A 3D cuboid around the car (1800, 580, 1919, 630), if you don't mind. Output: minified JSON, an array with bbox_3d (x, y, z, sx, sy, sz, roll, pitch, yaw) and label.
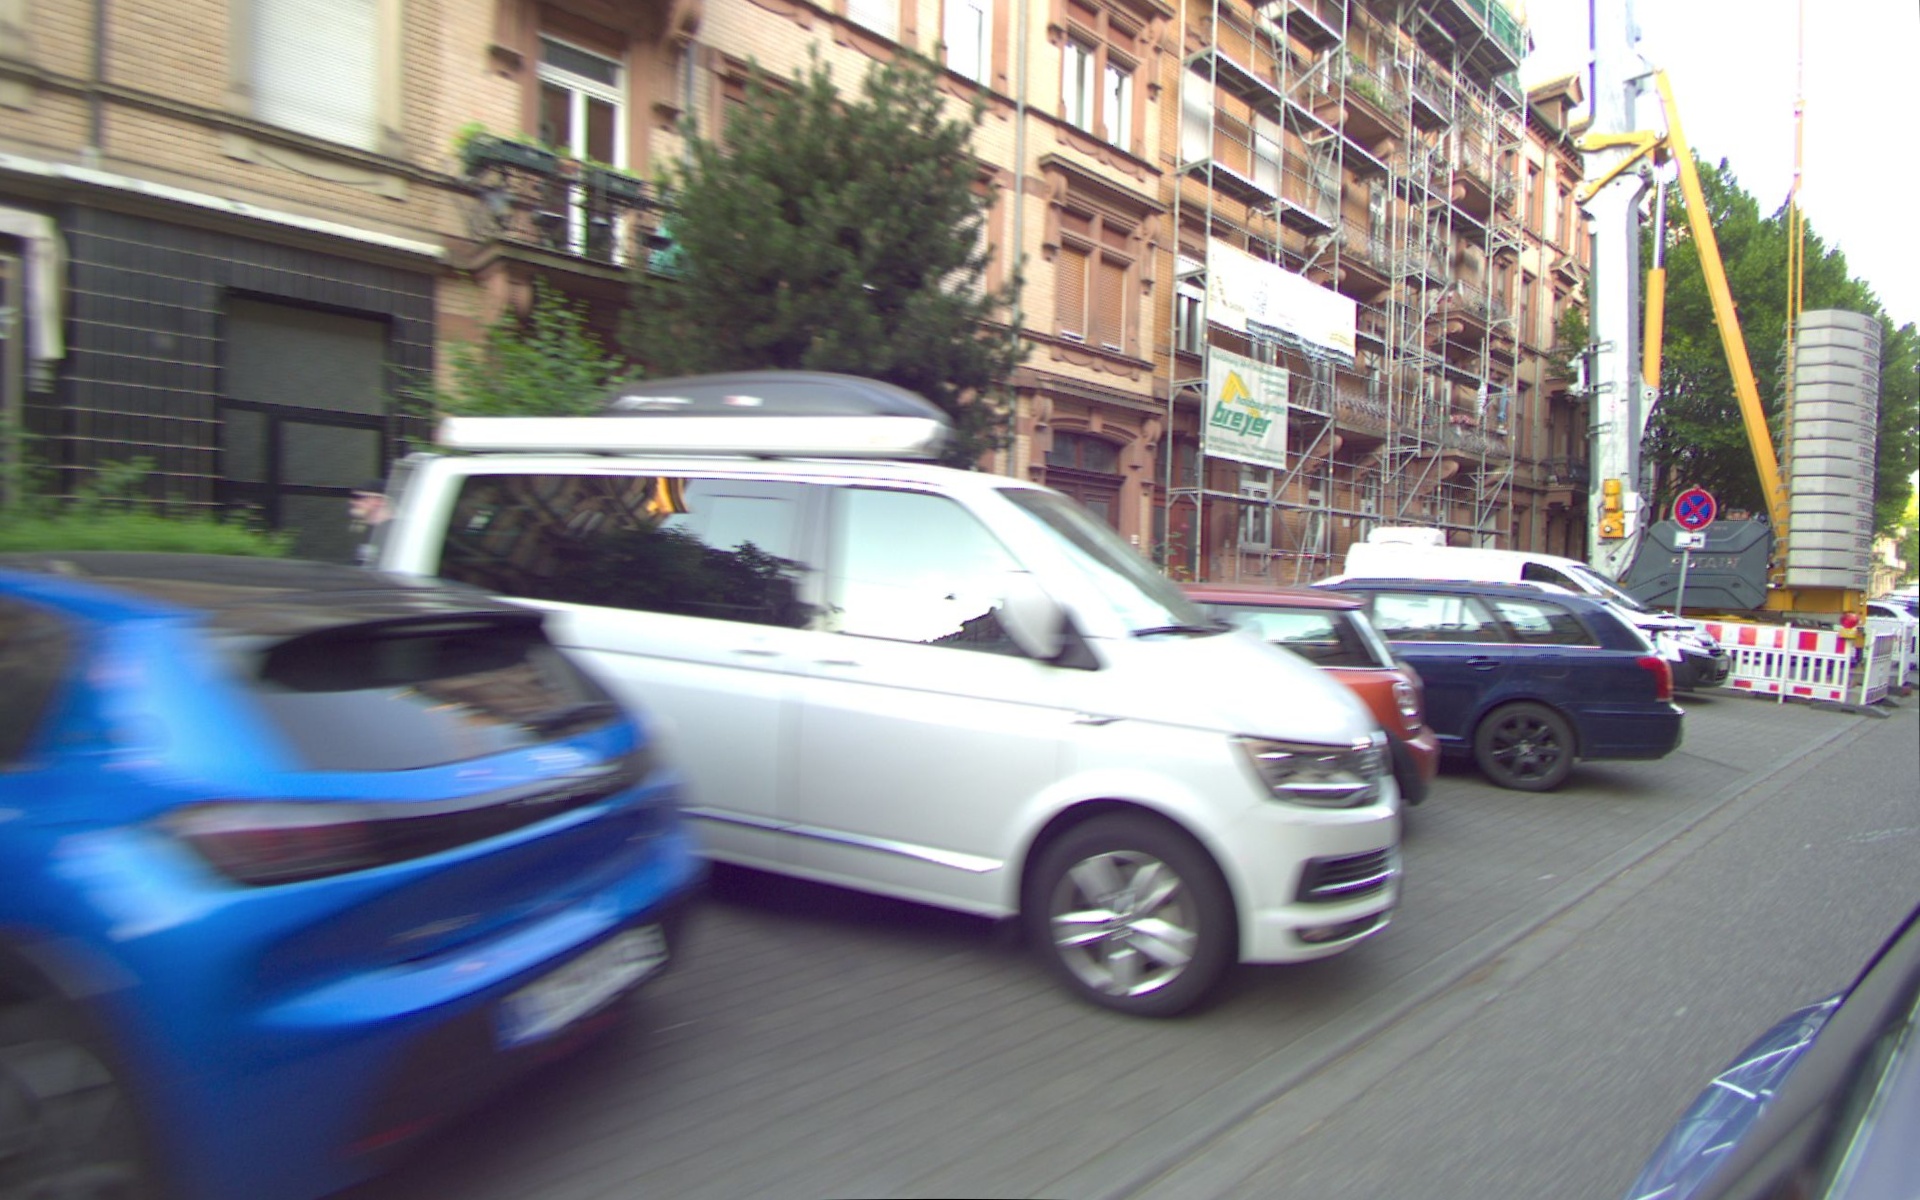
[{"bbox_3d":[31.989,0.185,35.247,3.747,1.536,1.642,4,3,16],"label":"car"}]

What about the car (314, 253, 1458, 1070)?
[{"bbox_3d":[-0.471,0.068,4.834,4.883,2.391,1.985,3,2,23],"label":"car"}]

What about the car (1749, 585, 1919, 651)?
[{"bbox_3d":[24.062,0.469,27.278,3.938,1.506,1.678,4,3,15],"label":"car"}]

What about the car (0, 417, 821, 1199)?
[{"bbox_3d":[-2.703,0.434,3.091,4.115,1.610,1.874,3,2,20],"label":"car"}]

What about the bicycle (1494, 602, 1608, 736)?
[{"bbox_3d":[5.832,0.623,10.070,0.490,1.150,1.805,3,2,16],"label":"bicycle"}]

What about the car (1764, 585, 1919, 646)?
[{"bbox_3d":[26.201,0.446,29.290,4.107,1.506,1.825,4,3,13],"label":"car"}]

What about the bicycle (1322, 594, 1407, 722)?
[{"bbox_3d":[4.151,0.546,10.477,0.489,1.150,1.807,3,2,13],"label":"bicycle"}]

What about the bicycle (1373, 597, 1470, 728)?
[{"bbox_3d":[4.674,0.580,10.350,0.489,1.150,1.807,3,2,13],"label":"bicycle"}]

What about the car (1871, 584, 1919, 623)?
[{"bbox_3d":[46.207,0.239,48.145,3.790,1.668,1.667,4,4,21],"label":"car"}]

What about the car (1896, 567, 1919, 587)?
[{"bbox_3d":[76.671,-1.714,79.761,3.788,1.536,1.668,4,4,20],"label":"car"}]

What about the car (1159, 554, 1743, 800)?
[{"bbox_3d":[3.737,0.463,8.309,3.824,1.535,1.834,3,2,23],"label":"car"}]

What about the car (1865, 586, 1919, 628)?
[{"bbox_3d":[40.840,0.372,42.444,3.786,1.584,1.669,4,4,19],"label":"car"}]

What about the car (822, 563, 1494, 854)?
[{"bbox_3d":[1.195,0.526,6.738,3.813,1.425,1.751,2,3,16],"label":"car"}]

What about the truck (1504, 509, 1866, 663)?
[{"bbox_3d":[16.654,-0.334,23.691,2.479,3.115,6.496,-1,1,-38],"label":"truck"}]

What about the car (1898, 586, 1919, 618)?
[{"bbox_3d":[48.930,0.205,49.651,3.782,1.536,1.670,4,4,16],"label":"car"}]

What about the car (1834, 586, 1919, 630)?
[{"bbox_3d":[38.404,0.352,41.230,3.799,1.584,1.663,5,4,27],"label":"car"}]

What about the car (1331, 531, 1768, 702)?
[{"bbox_3d":[8.445,0.092,14.980,1.866,1.979,5.183,2,3,-42],"label":"car"}]

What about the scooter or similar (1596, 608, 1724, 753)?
[{"bbox_3d":[6.490,0.696,9.458,0.650,1.164,1.472,4,2,24],"label":"scooter or similar"}]

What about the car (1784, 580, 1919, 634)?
[{"bbox_3d":[29.701,0.223,33.298,3.588,1.536,1.614,4,3,21],"label":"car"}]
